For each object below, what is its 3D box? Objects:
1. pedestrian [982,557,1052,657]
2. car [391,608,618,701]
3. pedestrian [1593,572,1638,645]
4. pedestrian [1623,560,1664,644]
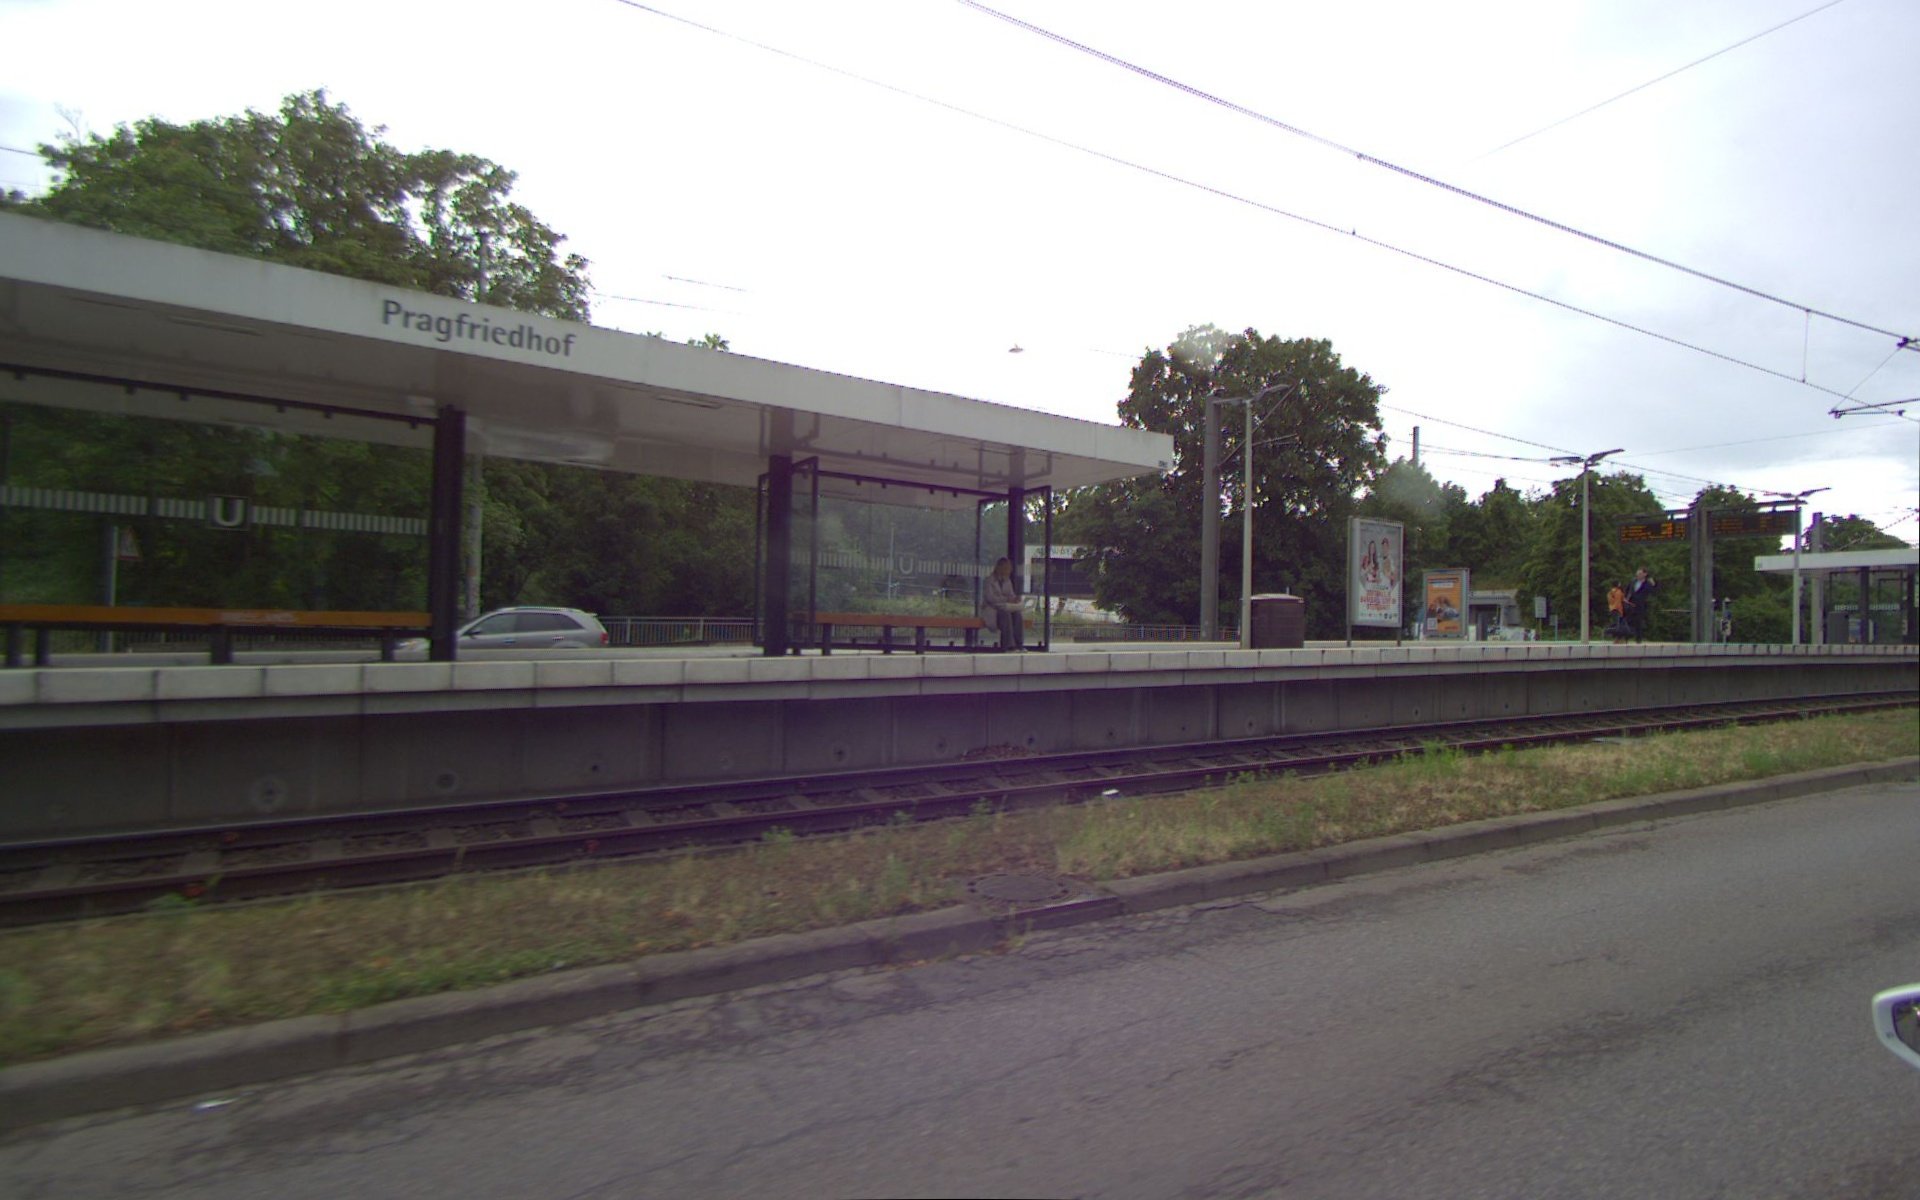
[{"bbox_3d":[0.729,0.094,12.995,0.612,1.242,0.707,1,-1,-30],"label":"pedestrian"},{"bbox_3d":[-10.230,1.167,22.632,4.467,1.901,1.983,1,-1,-32],"label":"car"},{"bbox_3d":[15.249,0.180,23.361,0.785,1.669,0.915,1,2,39],"label":"pedestrian"},{"bbox_3d":[16.175,0.033,23.764,0.734,1.935,0.838,1,2,39],"label":"pedestrian"}]
